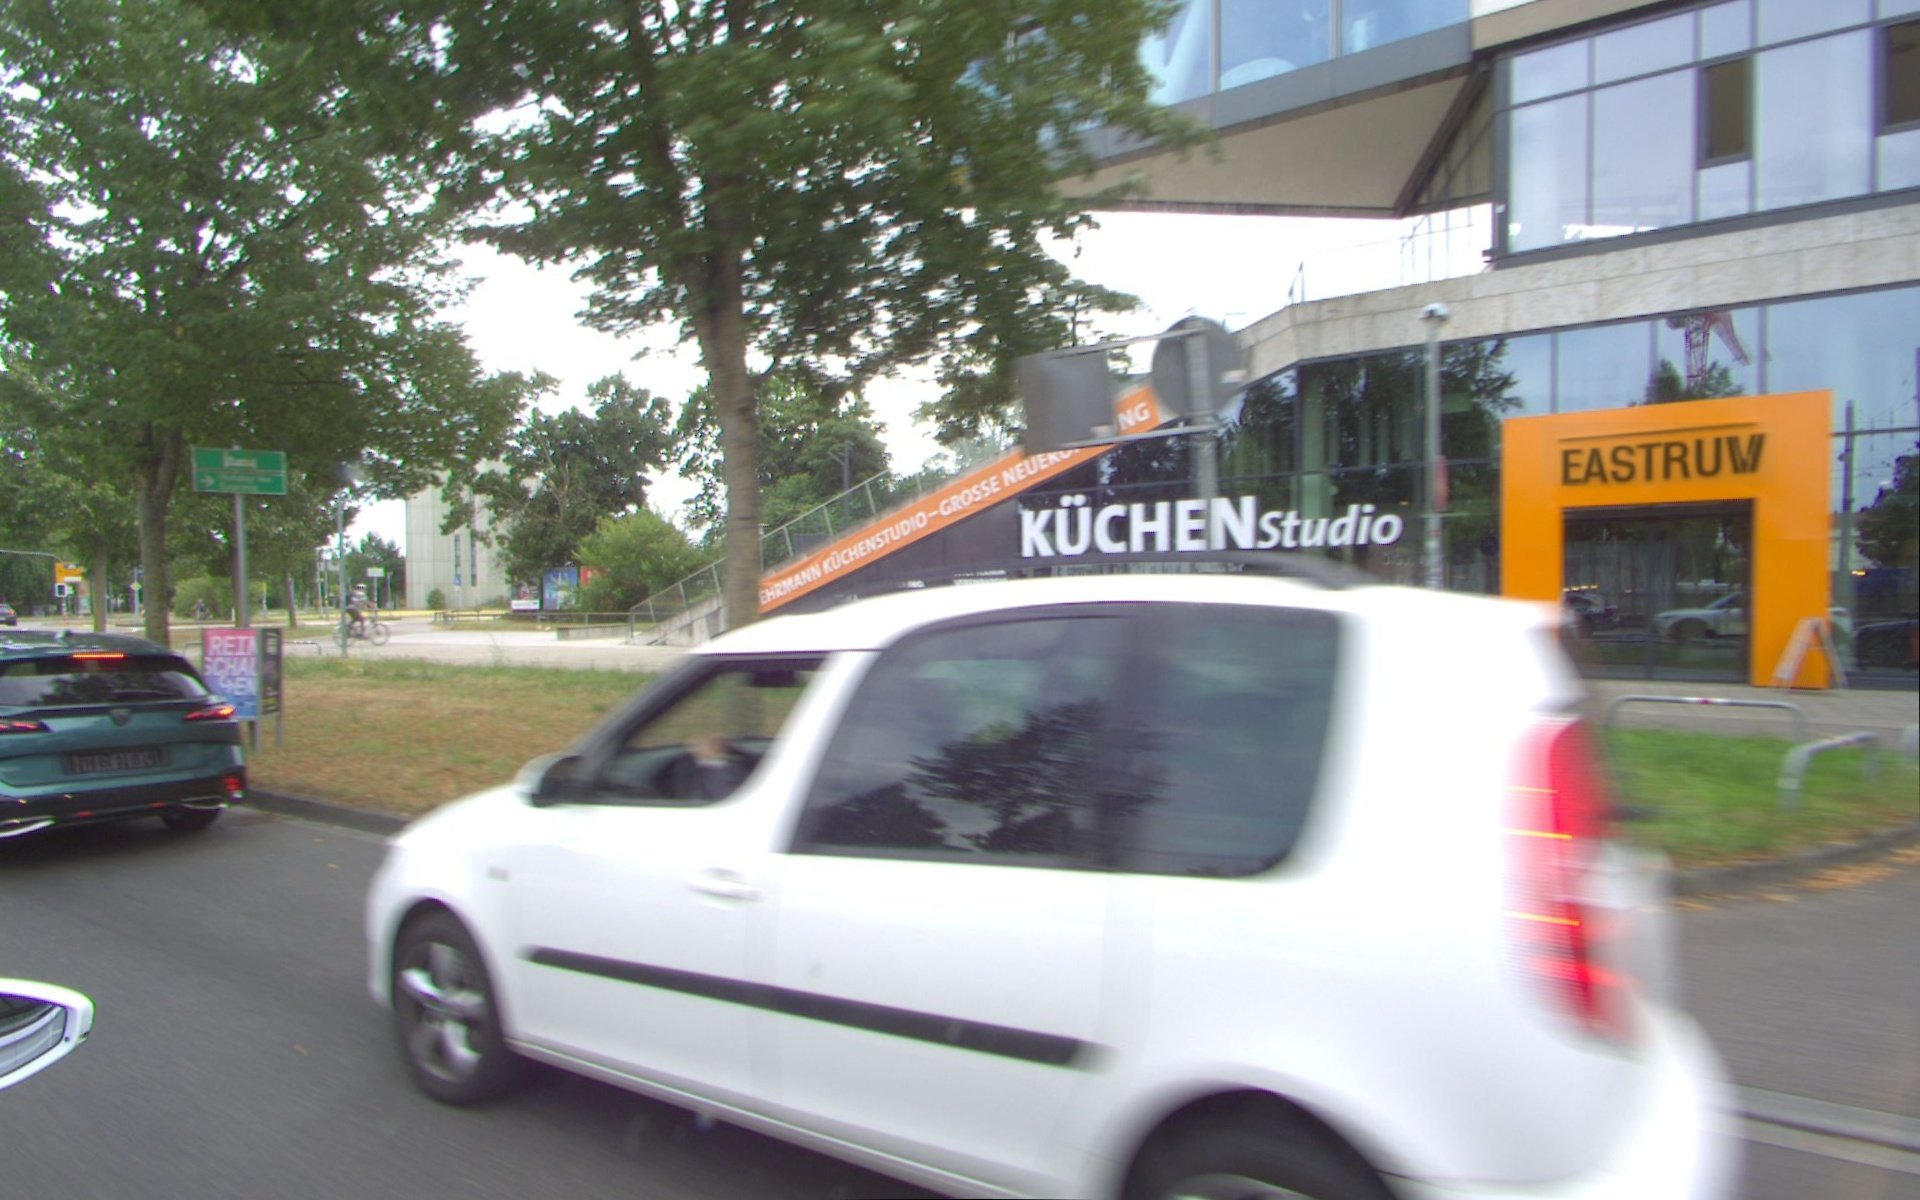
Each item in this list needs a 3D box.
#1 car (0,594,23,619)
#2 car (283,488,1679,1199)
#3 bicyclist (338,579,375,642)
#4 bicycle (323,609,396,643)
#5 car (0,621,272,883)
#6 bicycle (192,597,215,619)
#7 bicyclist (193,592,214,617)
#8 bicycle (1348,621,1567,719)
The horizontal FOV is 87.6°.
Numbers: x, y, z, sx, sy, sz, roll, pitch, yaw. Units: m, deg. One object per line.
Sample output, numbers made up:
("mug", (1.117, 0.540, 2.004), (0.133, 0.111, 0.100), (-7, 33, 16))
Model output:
("car", (-66.061, 0.449, 69.050), (4.352, 1.658, 1.774), (0, 0, 42))
("car", (-0.228, 0.692, 3.193), (3.966, 1.678, 1.775), (0, 0, 33))
("bicyclist", (-18.695, 0.319, 31.038), (0.724, 1.911, 0.727), (1, 1, 32))
("bicycle", (-18.634, 0.796, 31.118), (0.556, 0.997, 1.930), (1, 0, 31))
("car", (-7.067, 0.905, 7.285), (4.246, 1.451, 1.785), (0, 0, 30))
("bicycle", (-55.707, 0.591, 73.727), (1.979, 1.525, 0.704), (-1, -2, 33))
("bicyclist", (-55.707, 0.360, 73.714), (1.157, 1.812, 0.865), (0, -2, 31))
("bicycle", (5.345, 0.723, 10.857), (2.075, 0.968, 0.629), (0, 1, 28))
